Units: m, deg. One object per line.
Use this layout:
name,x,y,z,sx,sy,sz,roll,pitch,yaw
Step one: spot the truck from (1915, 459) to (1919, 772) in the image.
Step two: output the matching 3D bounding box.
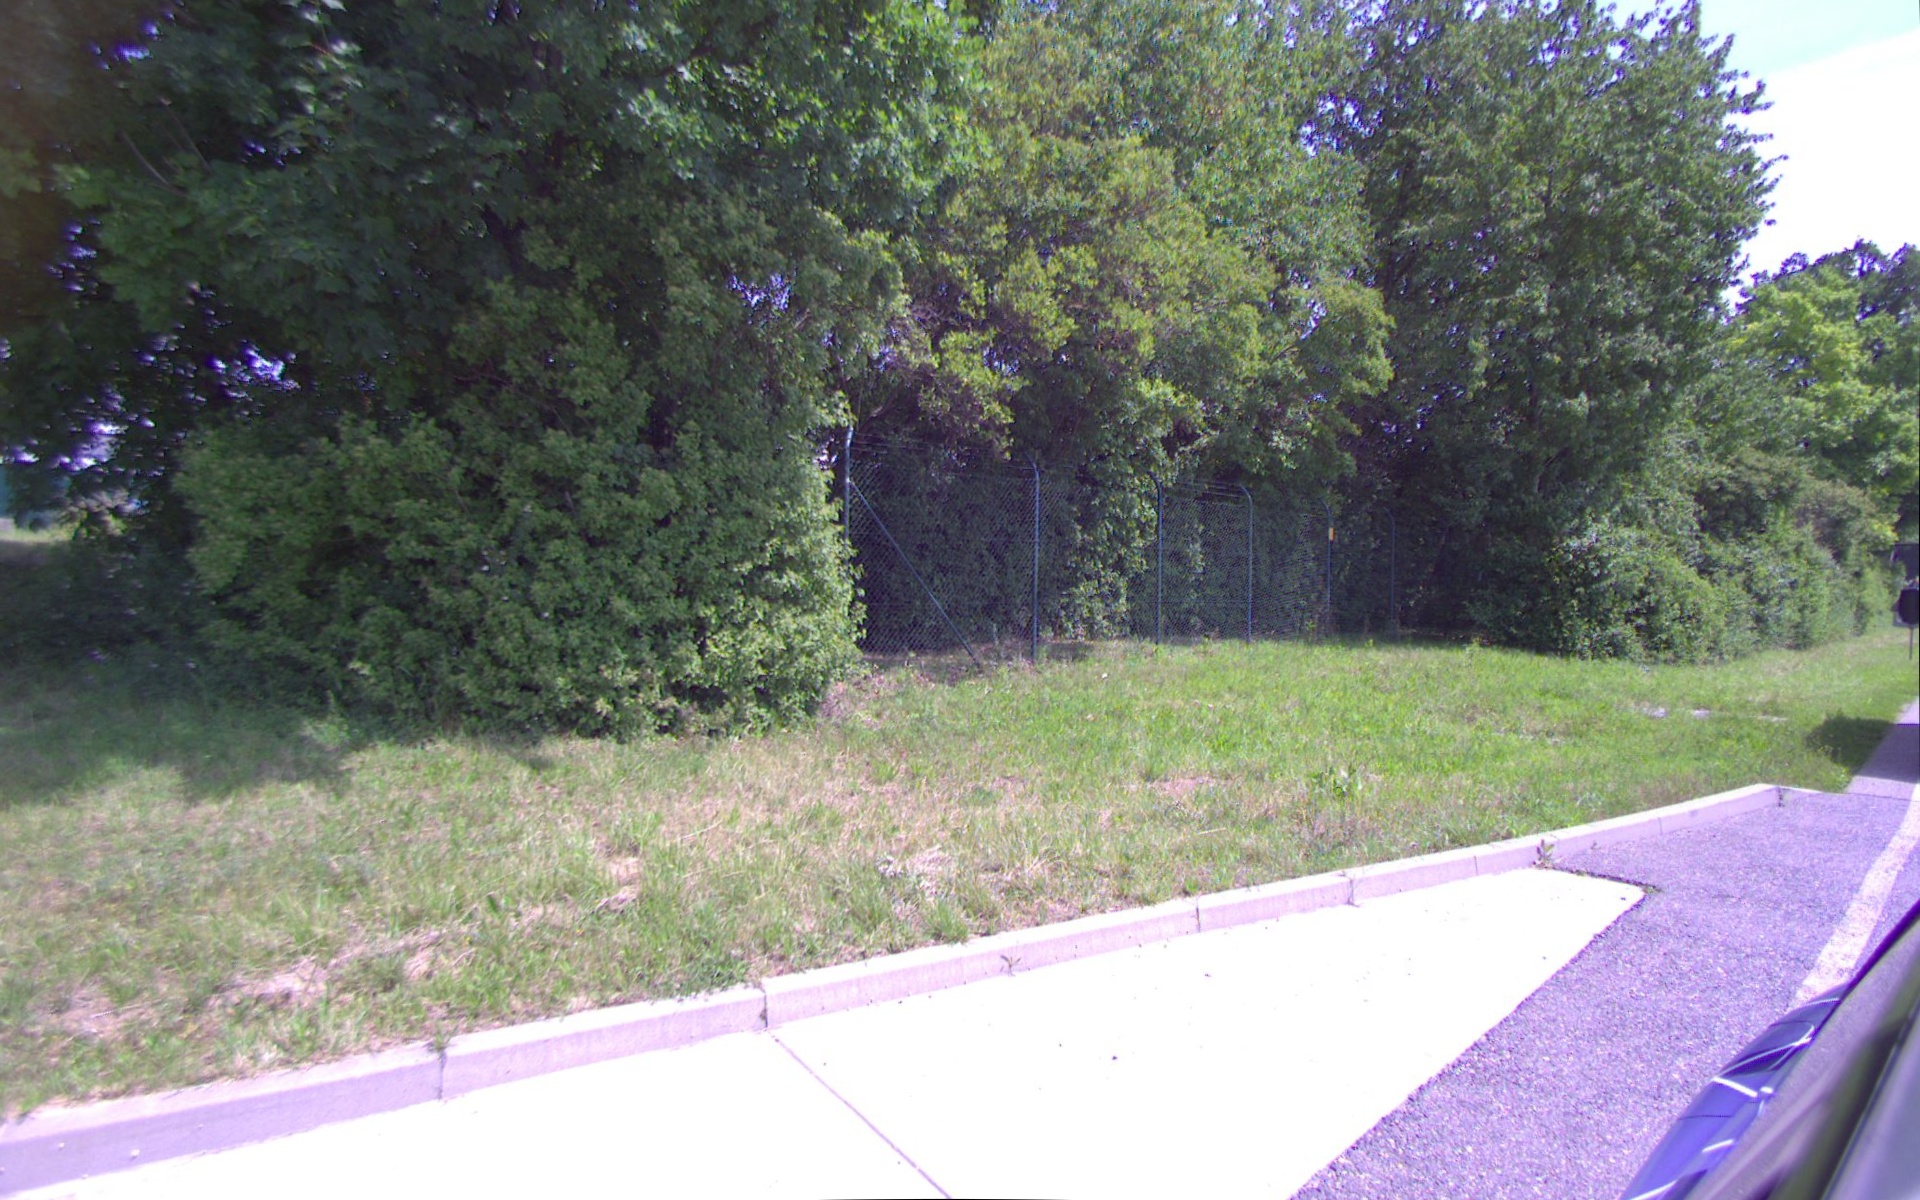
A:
truck,11.323,0.118,10.022,7.099,2.615,2.021,0,0,-41
